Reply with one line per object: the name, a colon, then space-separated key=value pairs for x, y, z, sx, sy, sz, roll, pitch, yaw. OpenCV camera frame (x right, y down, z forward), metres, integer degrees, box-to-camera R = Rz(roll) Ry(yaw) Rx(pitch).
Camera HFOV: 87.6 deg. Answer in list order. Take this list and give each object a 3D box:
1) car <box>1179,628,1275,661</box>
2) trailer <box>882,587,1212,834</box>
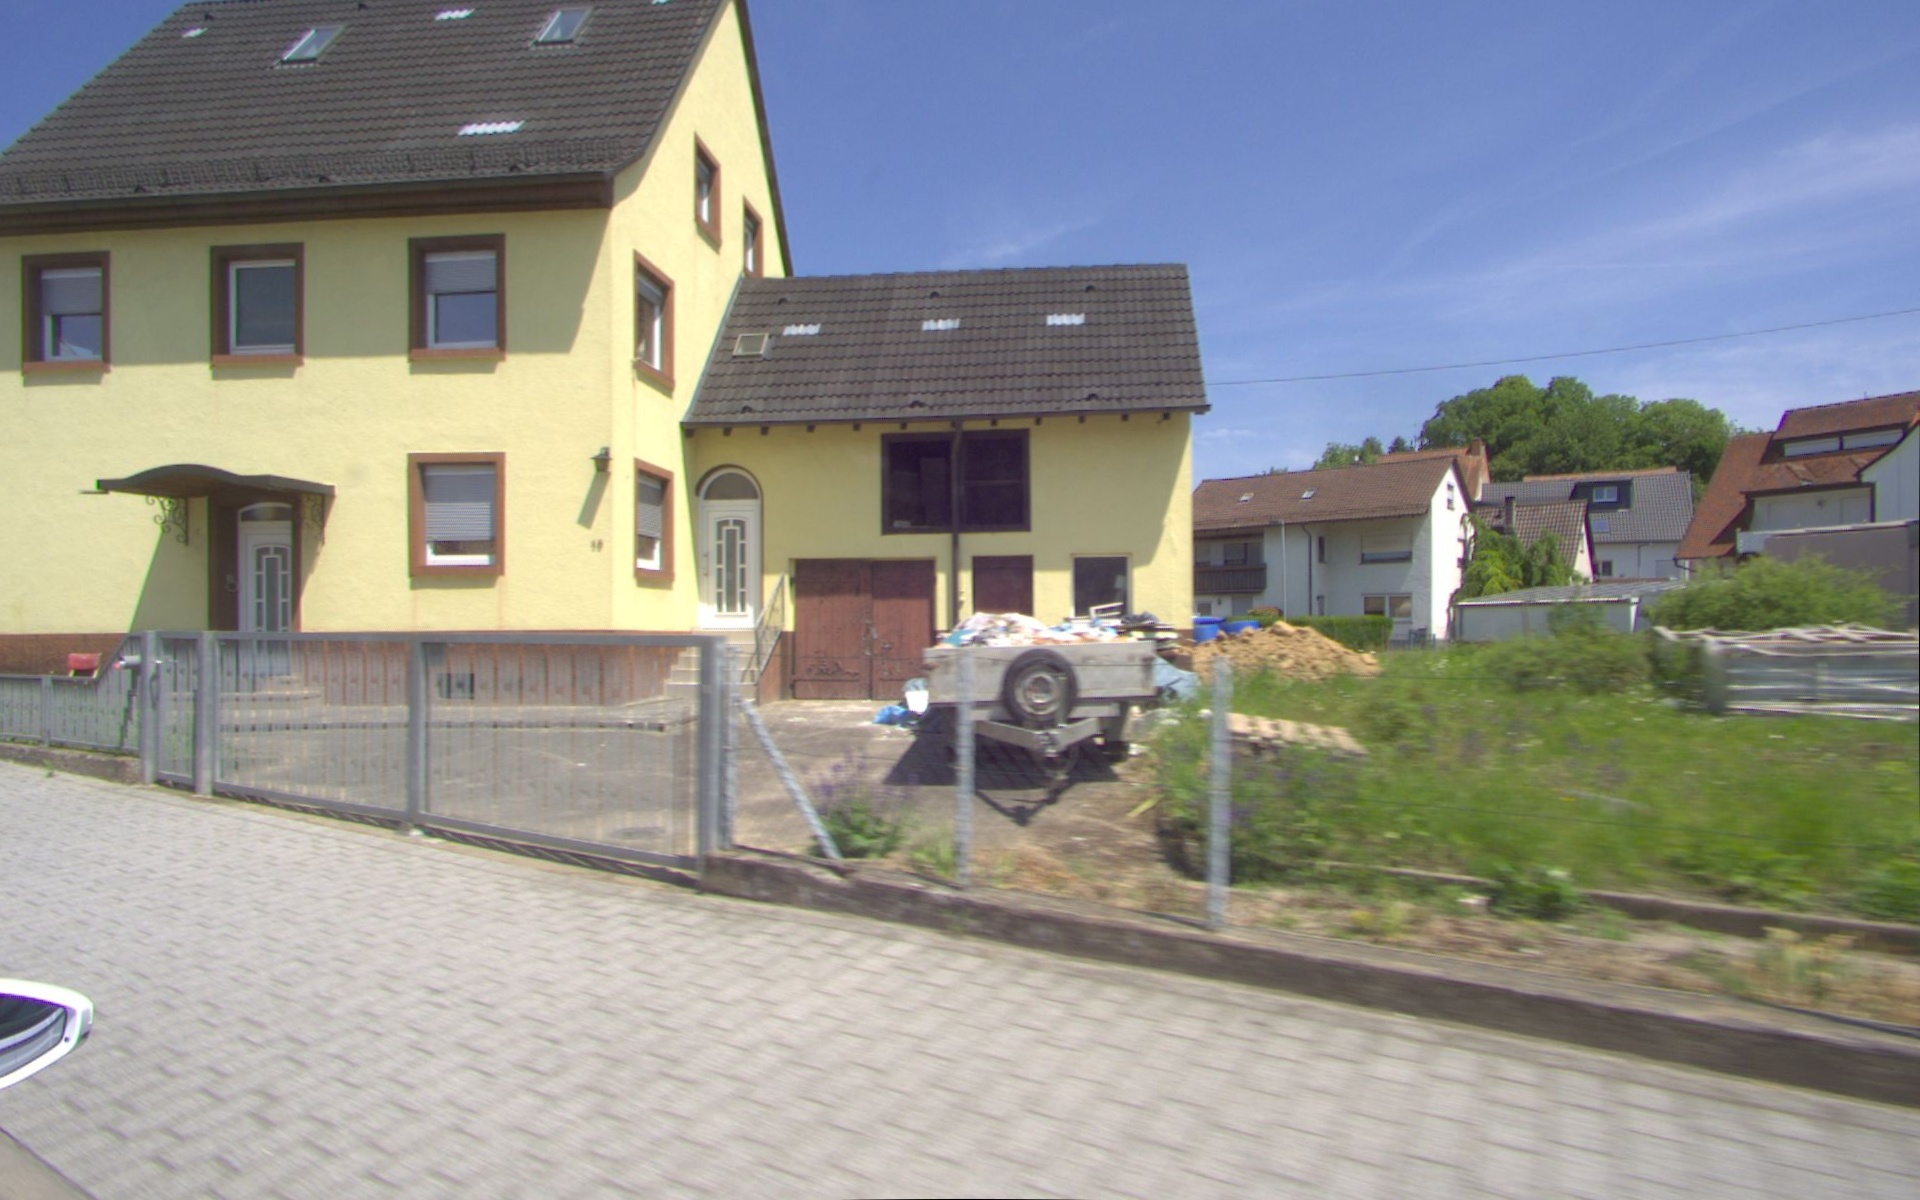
car: x=11.967 y=1.975 z=45.029 sx=1.648 sy=1.380 sz=3.963 roll=1 pitch=-2 yaw=-43
trailer: x=0.669 y=0.815 z=9.071 sx=2.097 sy=1.565 sz=5.367 roll=0 pitch=-2 yaw=3
